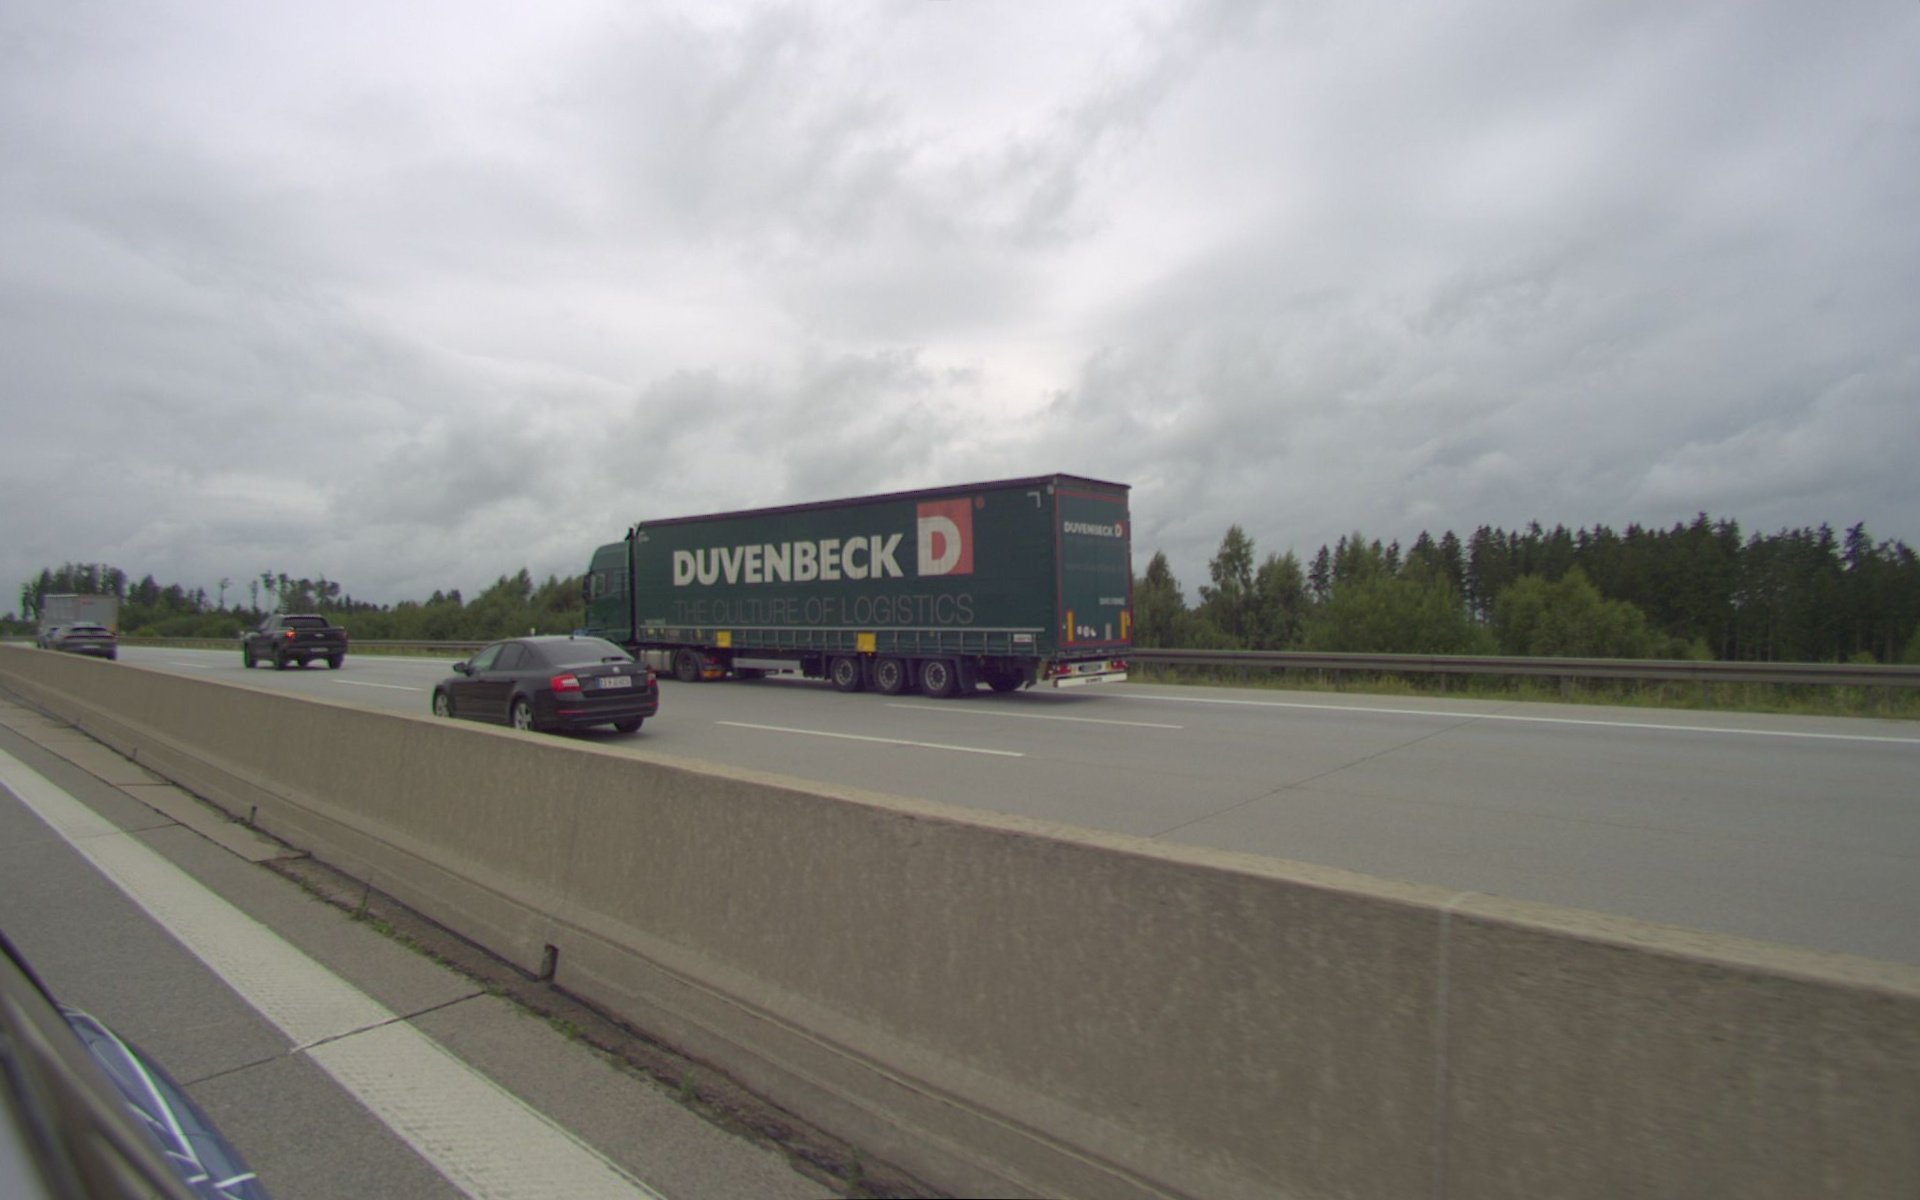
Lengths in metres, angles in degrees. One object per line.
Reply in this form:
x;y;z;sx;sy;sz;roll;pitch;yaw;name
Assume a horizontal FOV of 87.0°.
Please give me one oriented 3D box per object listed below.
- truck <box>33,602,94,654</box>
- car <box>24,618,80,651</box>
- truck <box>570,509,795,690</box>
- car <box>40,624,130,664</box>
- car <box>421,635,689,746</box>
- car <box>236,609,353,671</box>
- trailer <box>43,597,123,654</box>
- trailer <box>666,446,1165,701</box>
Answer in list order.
-76.524;2.482;86.339;5.851;4.212;2.902;-3;-4;39;truck
-59.487;2.290;66.269;5.920;2.029;1.894;-3;-4;41;car
-7.517;0.062;27.027;6.044;4.295;2.761;-3;-1;40;truck
-34.884;1.783;40.322;4.393;1.531;1.973;-3;-4;40;car
-5.957;1.240;14.658;4.363;1.368;1.753;-3;-4;40;car
-22.906;1.412;34.757;5.327;1.989;1.973;-3;-5;41;car
-70.389;2.188;81.128;11.863;4.250;2.889;-3;-4;40;trailer
-1.695;-0.238;22.074;12.158;4.314;2.737;-3;-1;40;trailer
